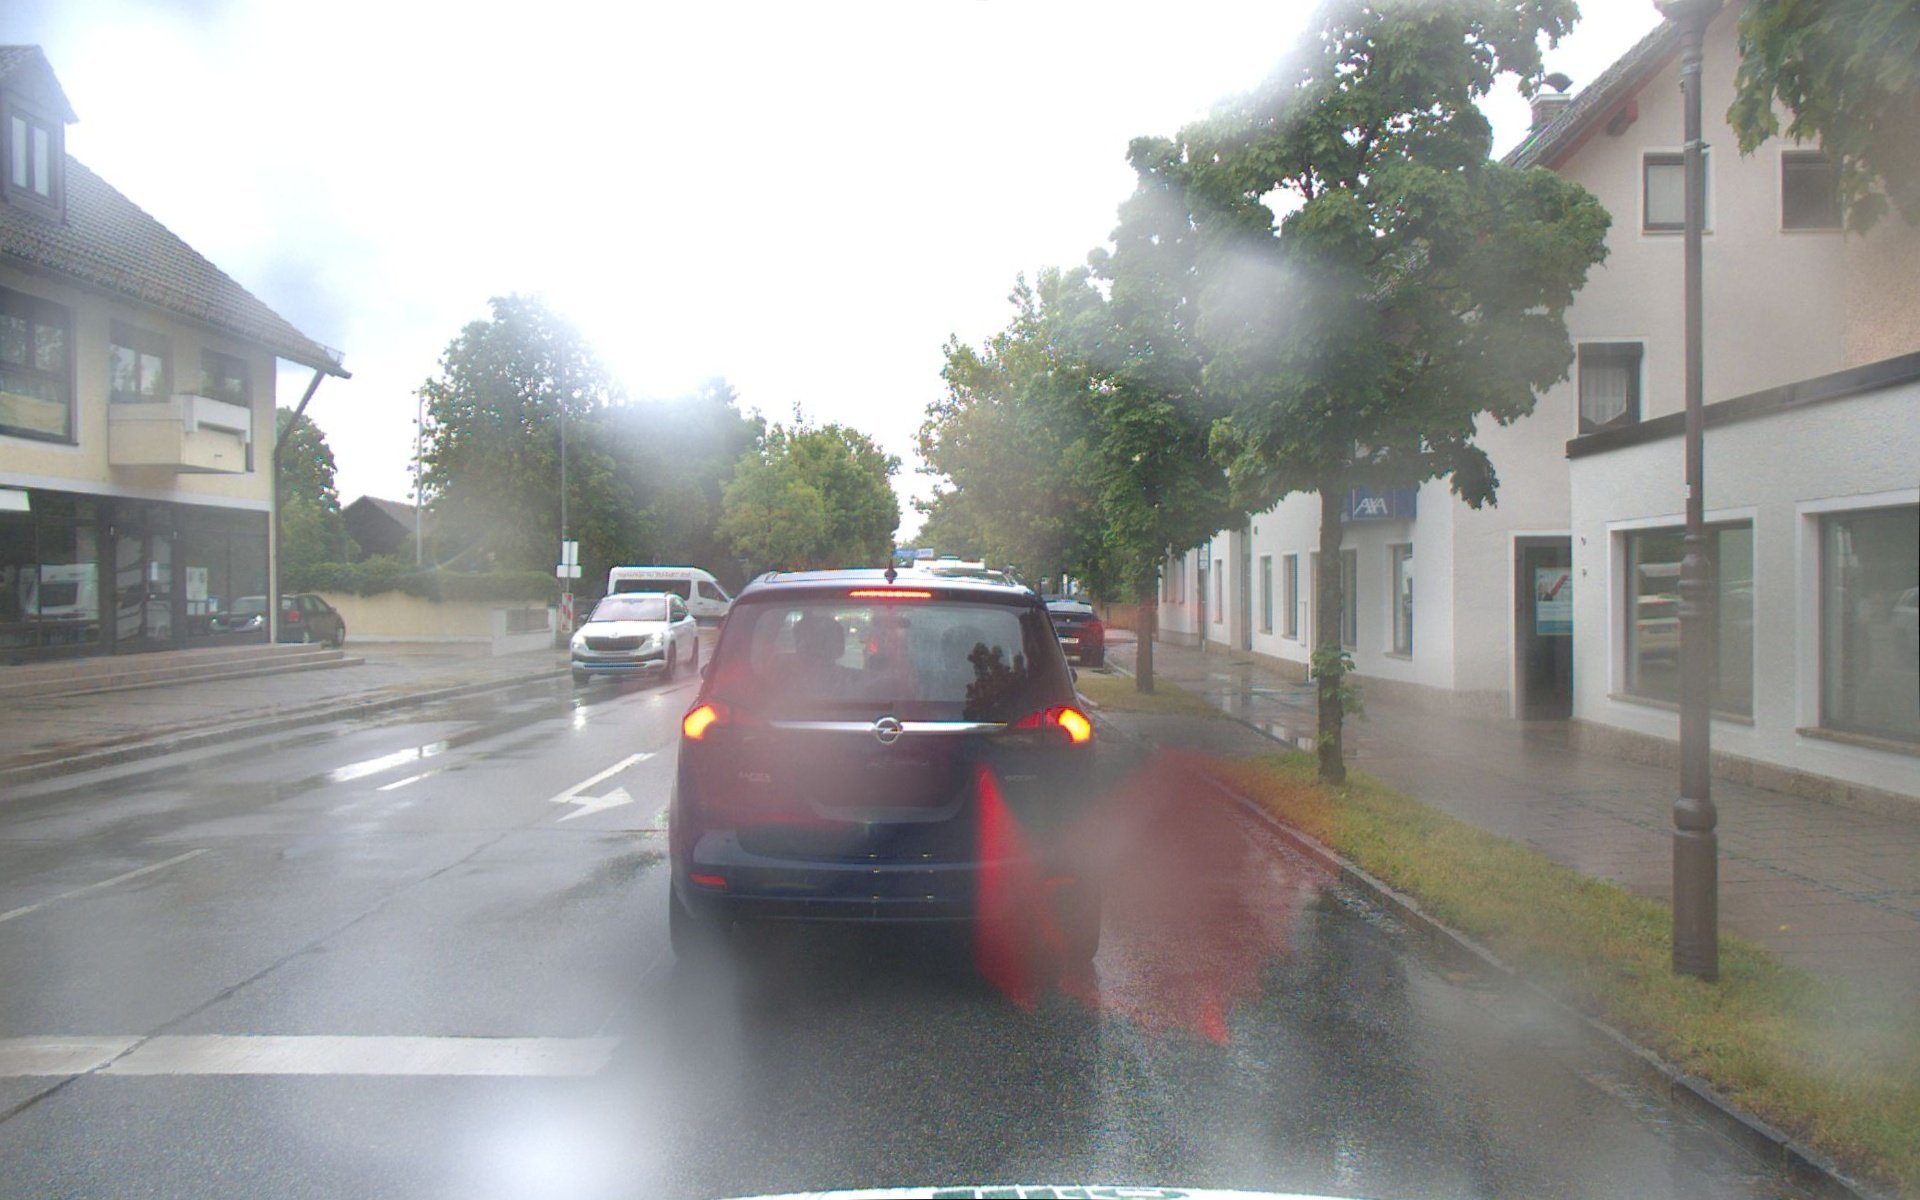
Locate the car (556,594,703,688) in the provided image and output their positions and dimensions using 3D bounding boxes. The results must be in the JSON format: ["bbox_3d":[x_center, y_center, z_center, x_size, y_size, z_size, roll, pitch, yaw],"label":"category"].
[{"bbox_3d":[-6.087,0.714,30.937,1.927,1.590,4.151,-1,0,-1],"label":"car"}]

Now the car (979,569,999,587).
[{"bbox_3d":[2.424,-1.814,138.411,1.597,1.402,3.622,-1,0,-1],"label":"car"}]

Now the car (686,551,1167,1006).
[{"bbox_3d":[-0.140,0.654,7.901,1.733,1.632,3.662,1,0,-1],"label":"car"}]

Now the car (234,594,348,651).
[{"bbox_3d":[-17.494,0.564,43.381,1.574,1.404,3.508,-1,0,-1],"label":"car"}]

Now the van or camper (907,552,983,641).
[{"bbox_3d":[-0.501,-0.102,53.424,2.312,2.712,5.370,0,0,-1],"label":"van or camper"}]

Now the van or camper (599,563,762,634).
[{"bbox_3d":[-10.956,-0.063,65.192,6.125,2.755,2.099,0,0,-4],"label":"van or camper"}]

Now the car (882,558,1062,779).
[{"bbox_3d":[0.083,0.568,15.343,1.470,1.807,3.111,1,0,-1],"label":"car"}]

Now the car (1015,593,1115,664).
[{"bbox_3d":[2.505,0.670,40.276,2.075,1.609,3.934,1,0,-1],"label":"car"}]

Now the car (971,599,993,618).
[{"bbox_3d":[1.668,0.652,128.938,1.597,1.402,3.622,1,-1,-1],"label":"car"}]

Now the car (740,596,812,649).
[{"bbox_3d":[-5.816,0.677,52.712,1.887,1.594,4.125,-1,0,-1],"label":"car"}]

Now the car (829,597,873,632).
[{"bbox_3d":[-5.057,0.647,77.110,1.716,1.538,4.230,-2,0,0],"label":"car"}]
